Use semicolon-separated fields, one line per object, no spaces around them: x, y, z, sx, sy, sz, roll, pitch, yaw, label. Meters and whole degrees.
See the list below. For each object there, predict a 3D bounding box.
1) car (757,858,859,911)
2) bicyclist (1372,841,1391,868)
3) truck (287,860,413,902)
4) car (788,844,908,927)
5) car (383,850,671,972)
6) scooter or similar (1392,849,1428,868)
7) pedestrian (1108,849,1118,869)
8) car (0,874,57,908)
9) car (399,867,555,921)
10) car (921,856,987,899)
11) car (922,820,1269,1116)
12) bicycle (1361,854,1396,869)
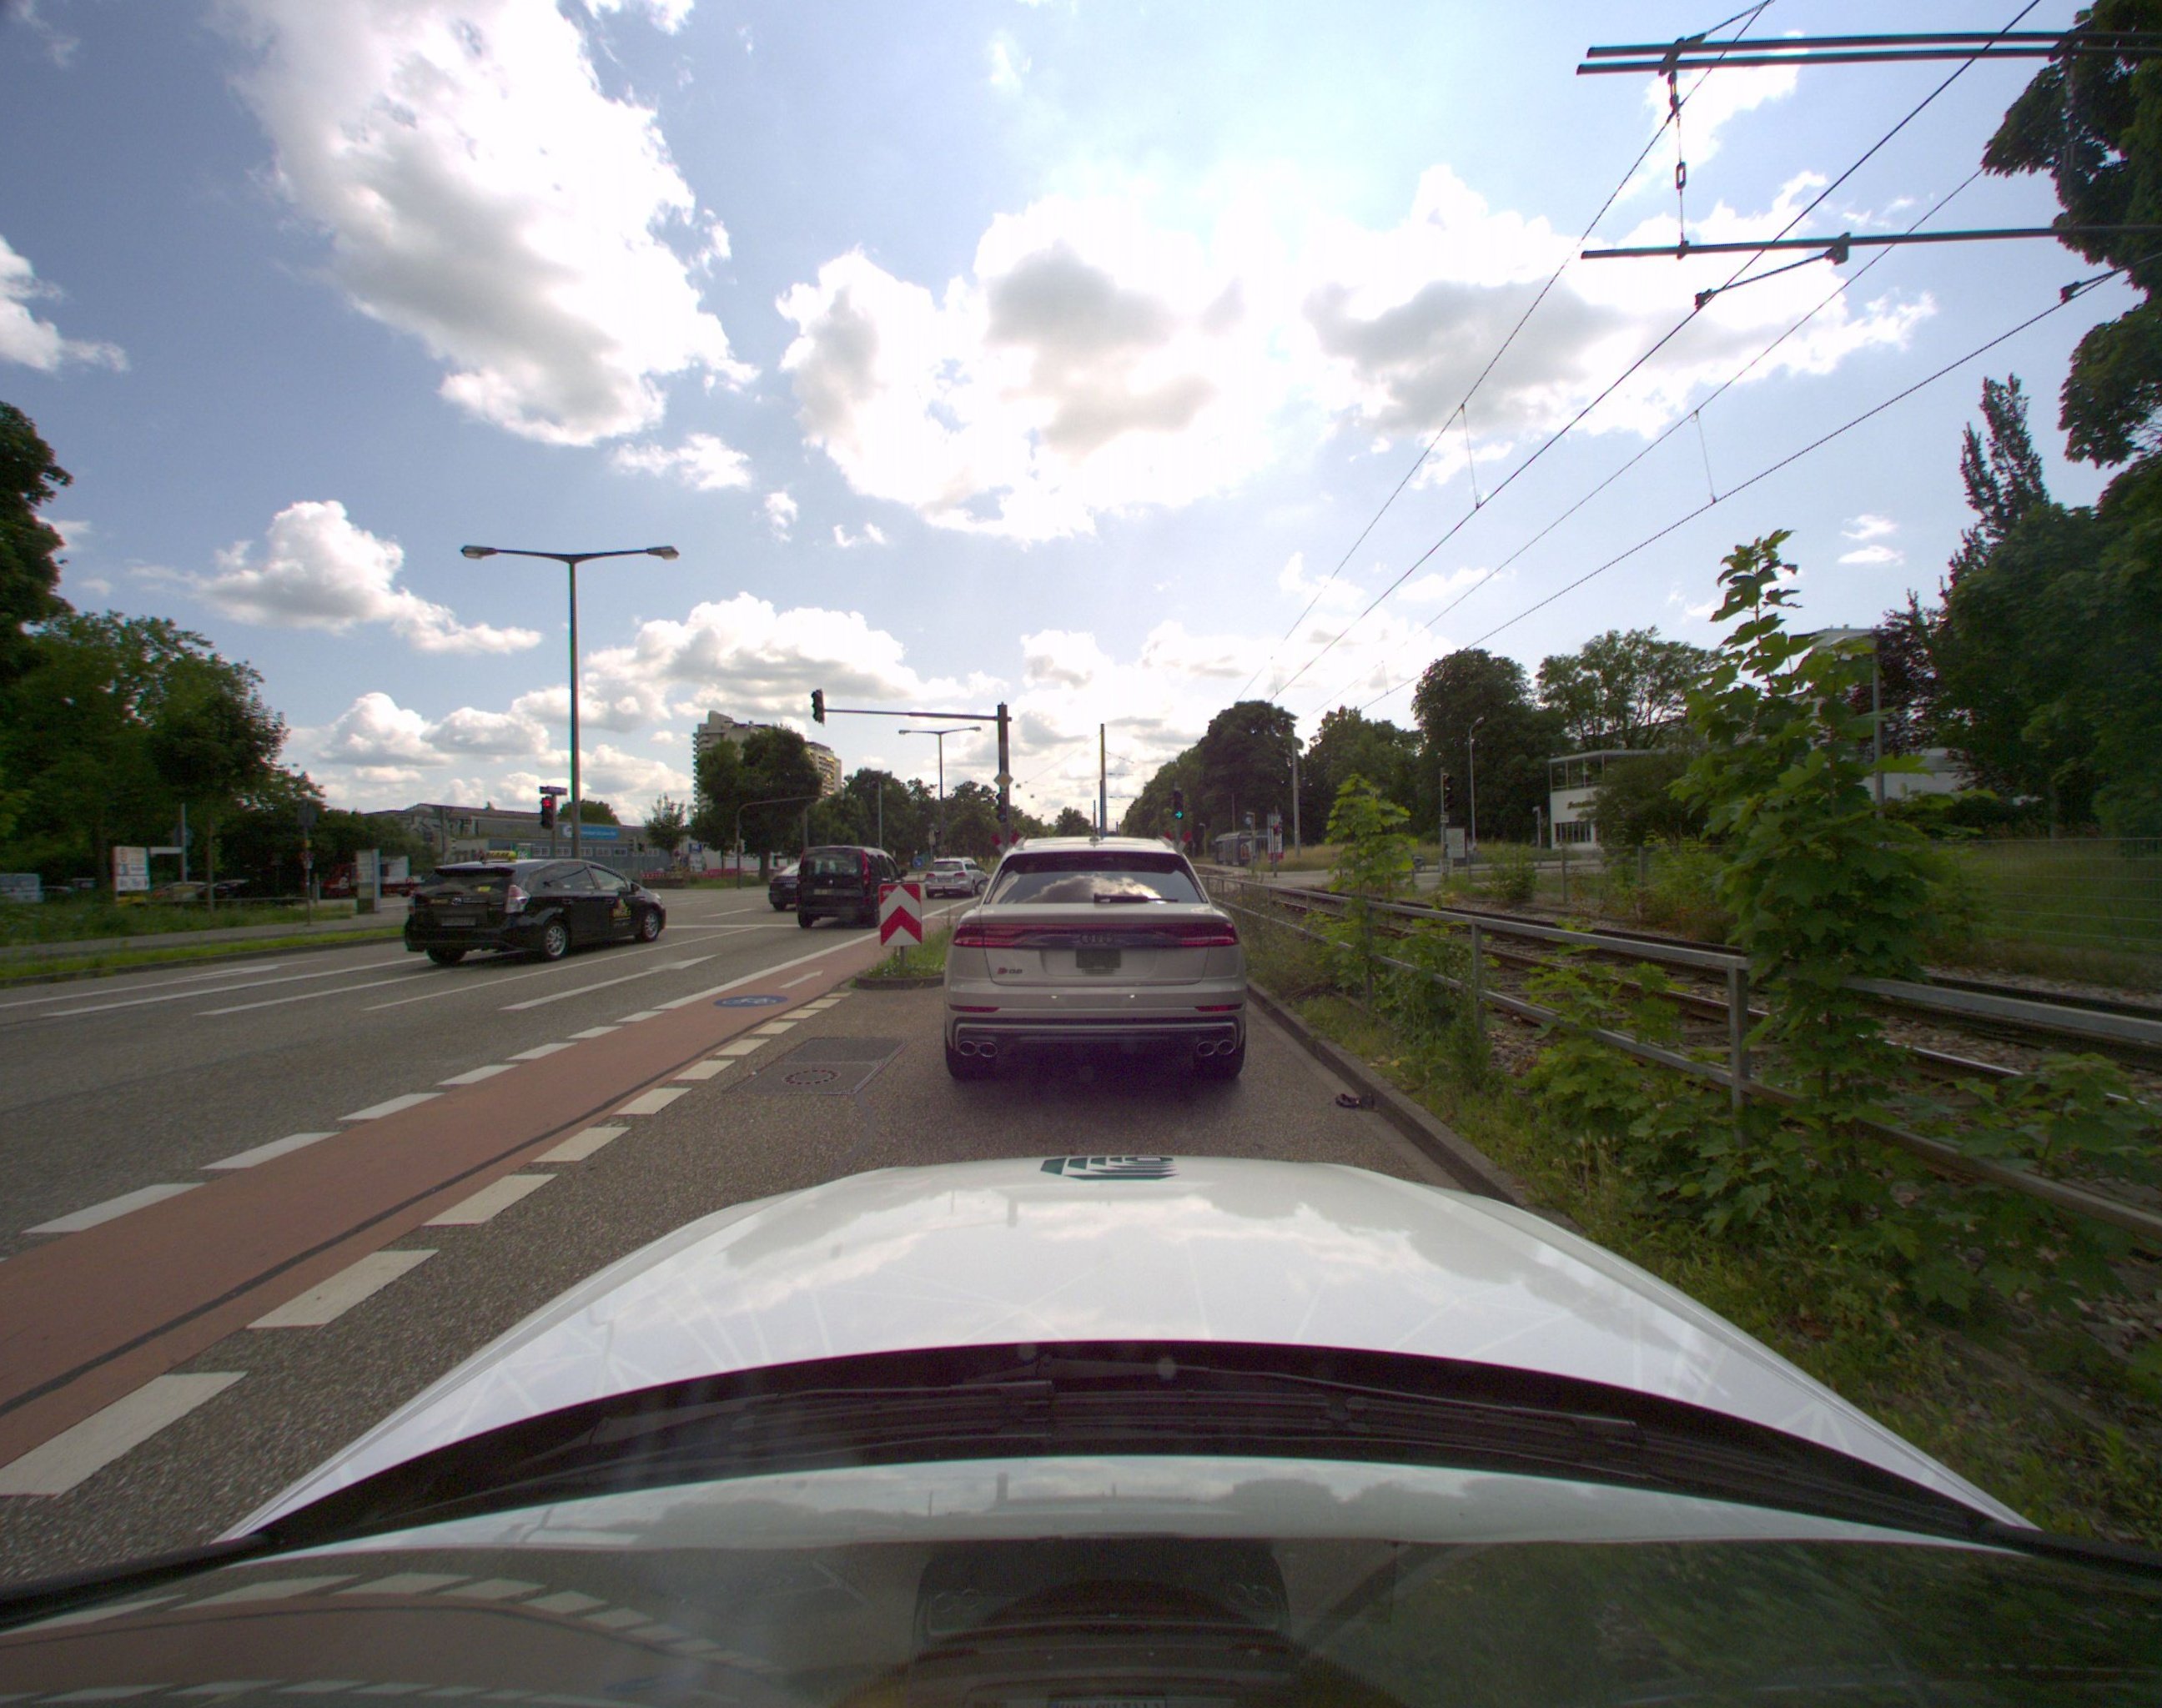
-8.335;0.892;25.237;1.859;1.504;3.998;0;-1;-1;car
16.356;0.021;44.343;0.835;1.475;0.456;-2;-1;3;bicyclist
-47.489;1.746;52.952;6.906;2.439;3.054;-2;0;19;truck
-5.435;0.701;19.536;1.754;1.777;3.908;0;-1;0;car
-8.730;0.807;13.410;1.780;1.668;4.339;0;-1;0;car
17.856;0.260;44.201;1.568;0.979;0.963;-2;-1;3;scooter or similar
2.554;0.412;64.476;0.653;1.513;0.716;-2;0;-8;pedestrian
-58.427;2.005;44.512;3.578;1.793;1.946;-1;-1;18;car
-18.820;1.200;25.618;1.881;1.512;4.000;0;-1;0;car
-4.763;0.841;31.161;1.779;1.525;4.301;0;-1;1;car
0.154;0.670;6.950;1.974;1.684;4.576;0;-1;2;car
16.171;0.419;44.302;1.714;0.765;0.556;-1;-1;3;bicycle
